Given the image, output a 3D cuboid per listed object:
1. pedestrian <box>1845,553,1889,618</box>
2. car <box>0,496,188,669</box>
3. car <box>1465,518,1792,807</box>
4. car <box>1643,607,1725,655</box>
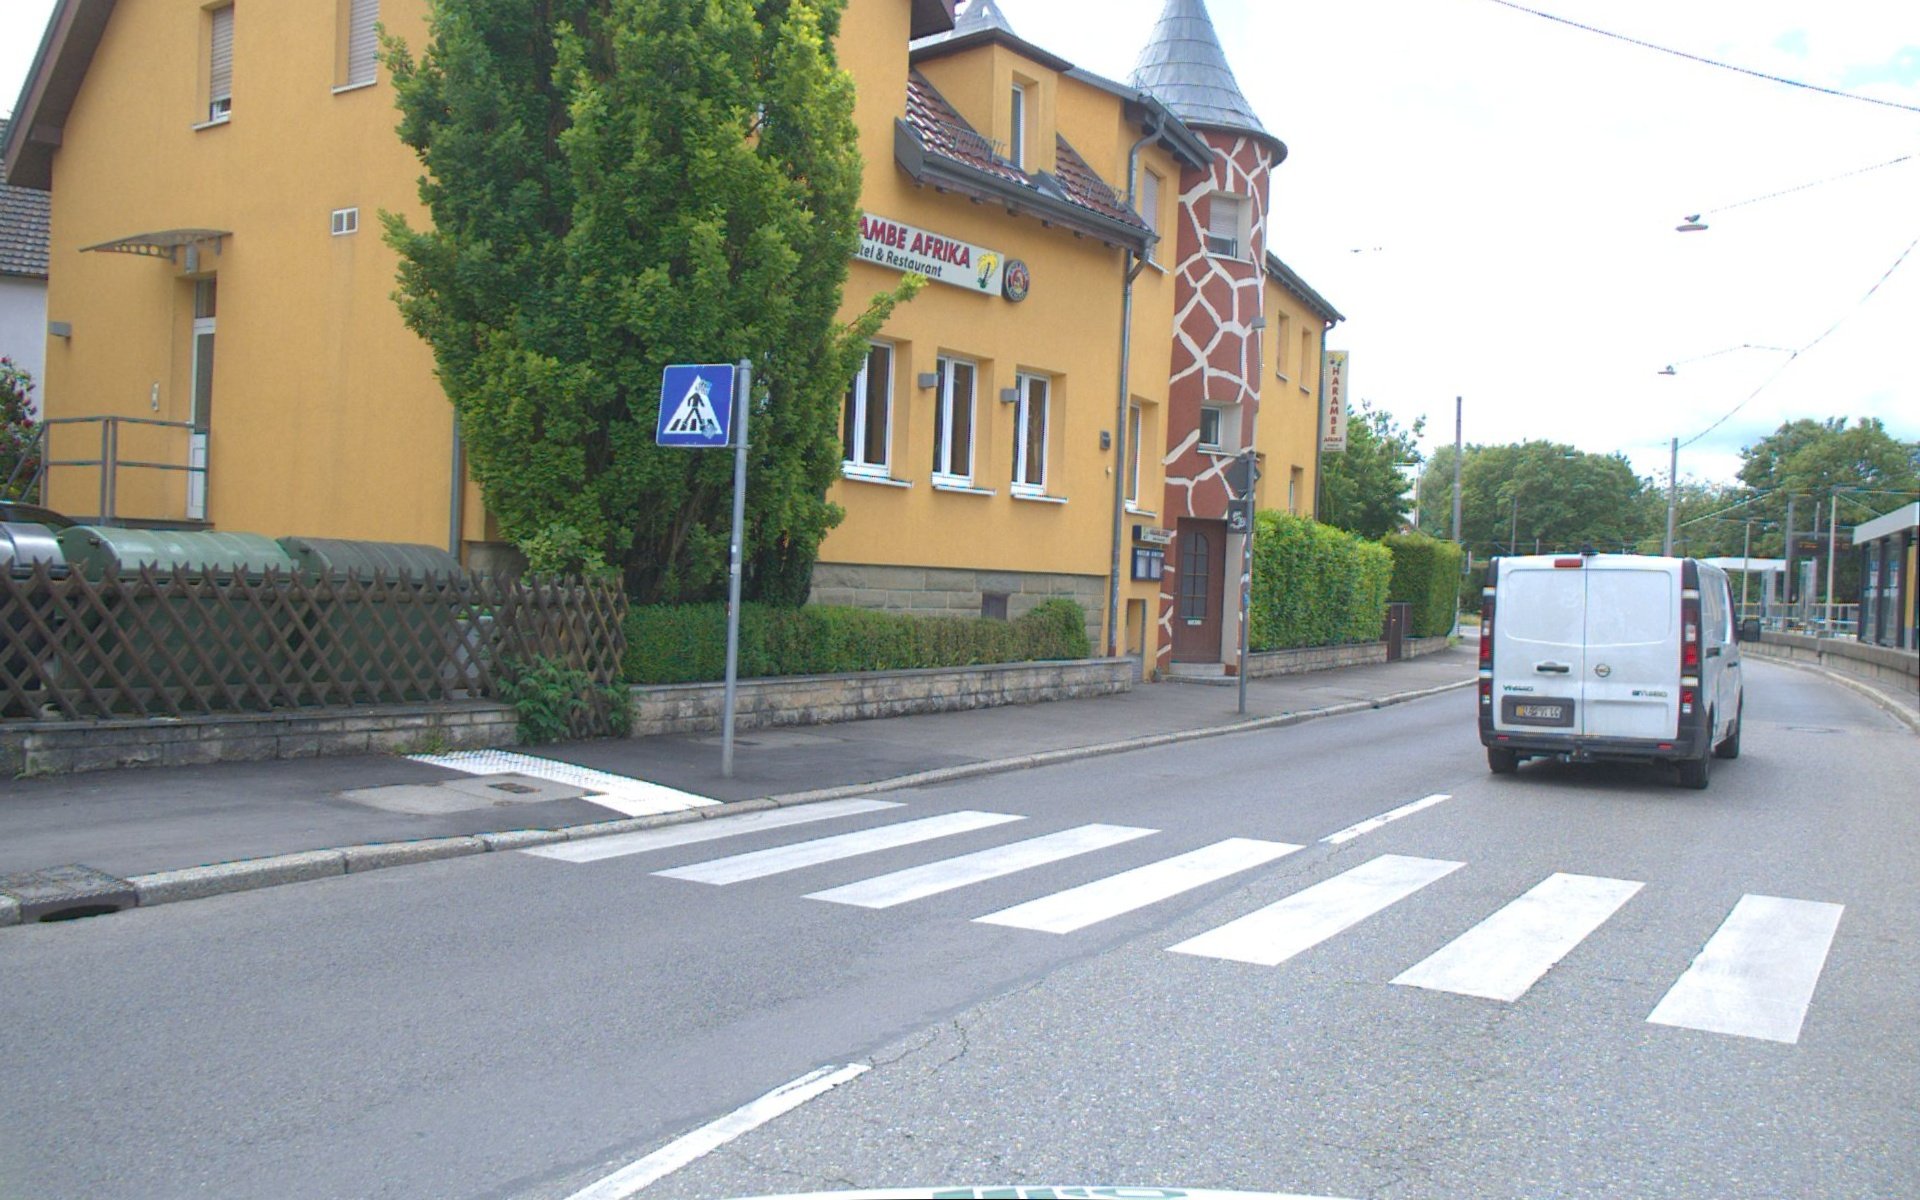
[{"bbox_3d":[24.651,-0.387,44.953,0.868,1.700,0.909,3,0,22],"label":"pedestrian"},{"bbox_3d":[-9.109,-0.197,14.767,1.691,1.451,3.671,6,4,31],"label":"car"},{"bbox_3d":[6.528,0.500,15.704,2.078,2.171,5.430,4,1,30],"label":"car"},{"bbox_3d":[27.874,1.179,63.831,2.306,1.591,4.374,4,1,17],"label":"car"}]
